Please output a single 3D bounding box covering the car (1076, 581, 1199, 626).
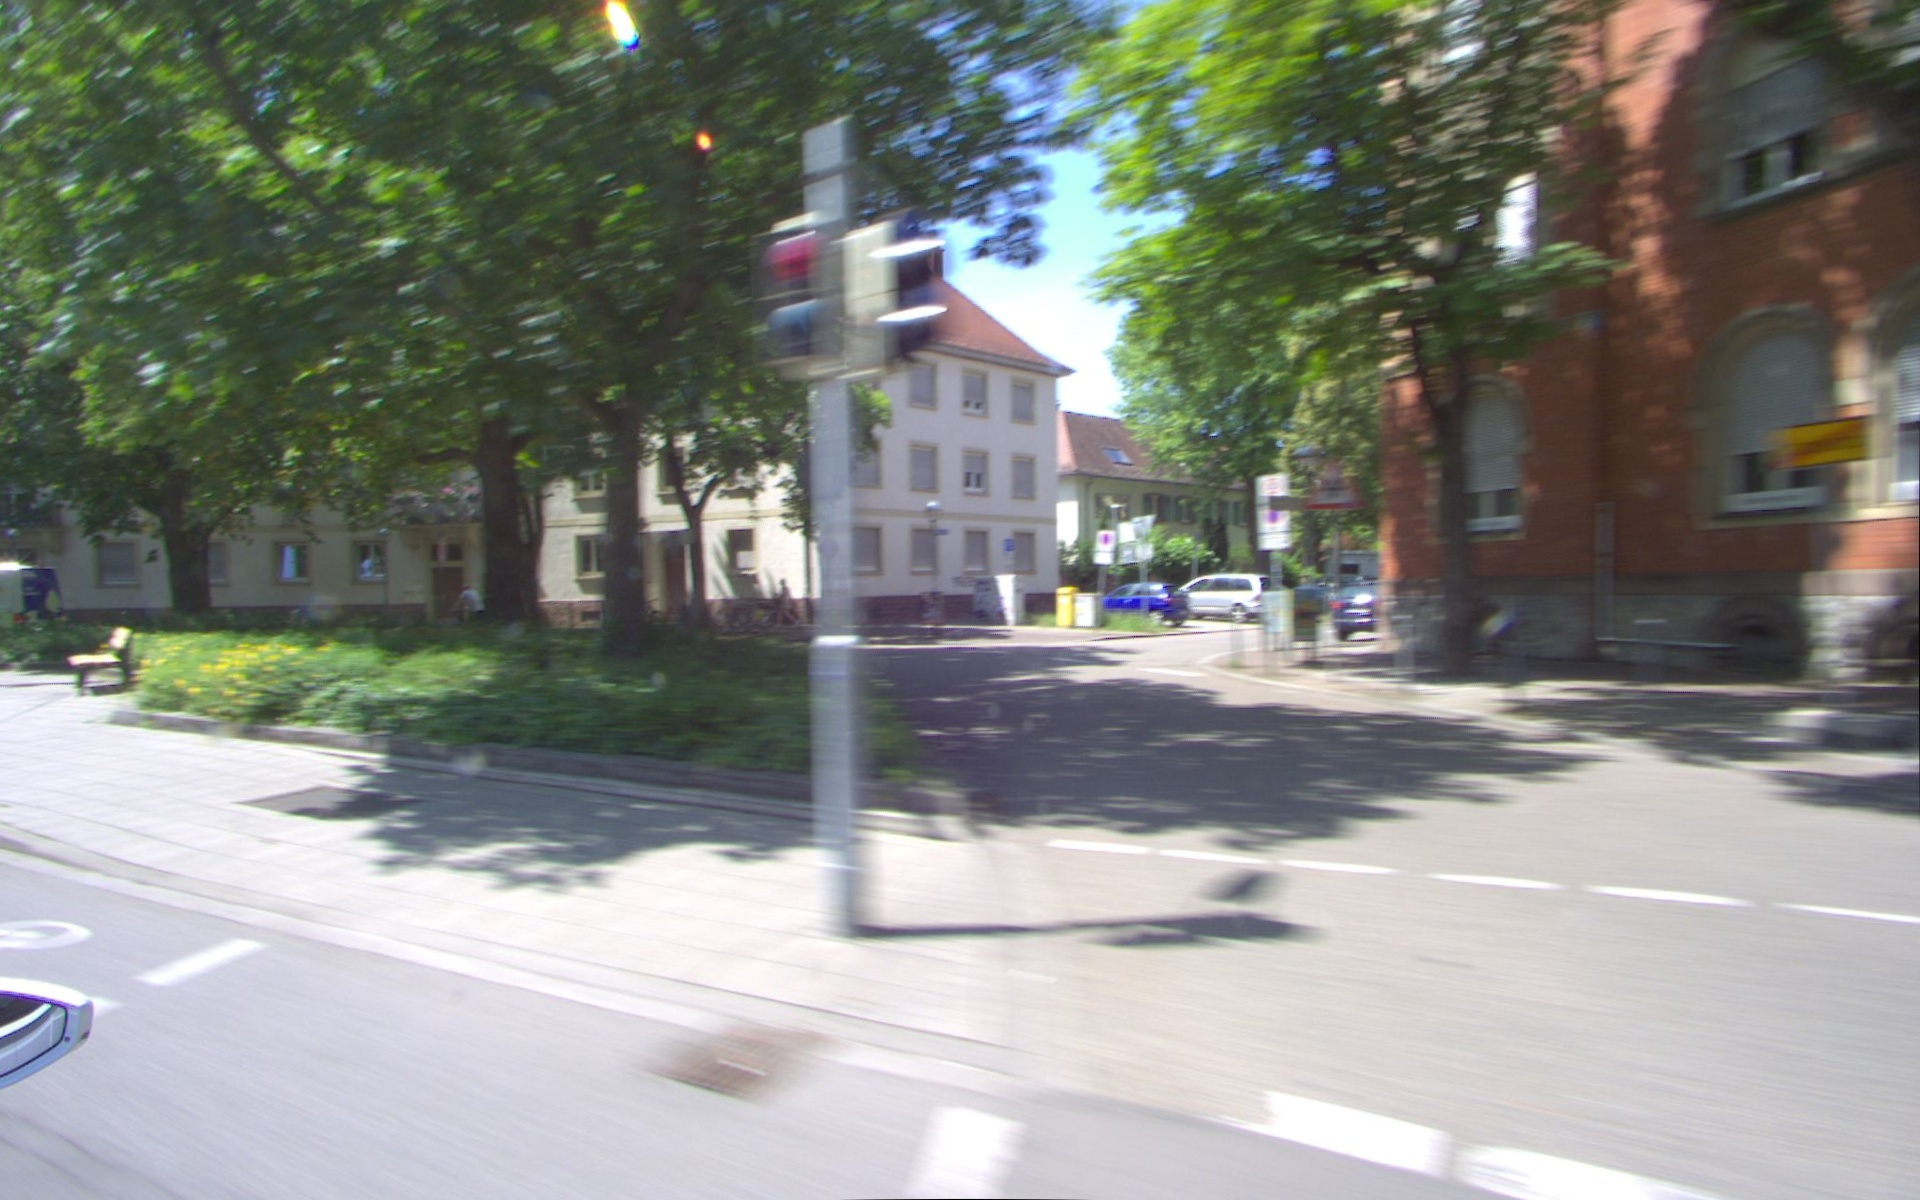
[{"bbox_3d":[6.001,0.102,34.139,1.710,1.449,3.848,-1,1,-45],"label":"car"}]

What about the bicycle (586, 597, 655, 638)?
[{"bbox_3d":[-11.625,0.584,34.359,0.508,1.362,2.312,-1,0,37],"label":"bicycle"}]

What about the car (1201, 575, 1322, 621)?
[{"bbox_3d":[11.690,-0.100,39.020,1.710,1.675,4.221,-1,1,-45],"label":"car"}]

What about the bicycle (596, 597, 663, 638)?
[{"bbox_3d":[-11.186,0.580,33.955,0.508,1.365,2.228,-1,0,37],"label":"bicycle"}]

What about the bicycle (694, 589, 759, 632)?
[{"bbox_3d":[-7.396,0.332,31.862,0.540,1.317,2.144,-1,0,37],"label":"bicycle"}]

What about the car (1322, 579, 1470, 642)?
[{"bbox_3d":[11.201,0.232,25.534,1.886,1.460,4.713,-1,0,45],"label":"car"}]

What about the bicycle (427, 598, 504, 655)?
[{"bbox_3d":[-13.326,0.721,26.958,2.131,1.505,0.592,-1,0,23],"label":"bicycle"}]

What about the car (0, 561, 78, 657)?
[{"bbox_3d":[-28.802,0.280,28.080,5.743,2.625,1.997,-1,1,-14],"label":"car"}]

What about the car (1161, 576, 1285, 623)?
[{"bbox_3d":[9.761,-0.050,37.424,1.710,1.675,4.221,-1,1,-45],"label":"car"}]

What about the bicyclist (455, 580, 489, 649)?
[{"bbox_3d":[-13.090,0.387,26.877,0.525,1.823,0.602,-1,1,21],"label":"bicyclist"}]

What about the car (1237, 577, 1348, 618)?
[{"bbox_3d":[14.207,-0.121,42.939,1.710,1.675,4.221,-1,1,-45],"label":"car"}]

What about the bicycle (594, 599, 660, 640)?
[{"bbox_3d":[-11.013,0.630,33.211,0.540,1.317,2.144,-1,0,37],"label":"bicycle"}]

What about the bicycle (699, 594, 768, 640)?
[{"bbox_3d":[-6.750,0.492,29.977,0.540,1.317,2.144,-1,0,37],"label":"bicycle"}]

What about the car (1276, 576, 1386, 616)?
[{"bbox_3d":[16.259,-0.178,43.979,1.710,1.675,4.221,-1,1,-45],"label":"car"}]

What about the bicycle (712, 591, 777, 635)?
[{"bbox_3d":[-6.753,0.394,31.420,0.540,1.317,2.144,-1,0,37],"label":"bicycle"}]

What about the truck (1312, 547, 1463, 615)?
[{"bbox_3d":[21.250,-0.944,50.074,1.915,3.196,6.762,-1,1,-43],"label":"truck"}]

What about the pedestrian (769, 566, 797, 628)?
[{"bbox_3d":[-5.939,-0.104,33.670,0.792,2.040,0.773,-1,0,-4],"label":"pedestrian"}]
